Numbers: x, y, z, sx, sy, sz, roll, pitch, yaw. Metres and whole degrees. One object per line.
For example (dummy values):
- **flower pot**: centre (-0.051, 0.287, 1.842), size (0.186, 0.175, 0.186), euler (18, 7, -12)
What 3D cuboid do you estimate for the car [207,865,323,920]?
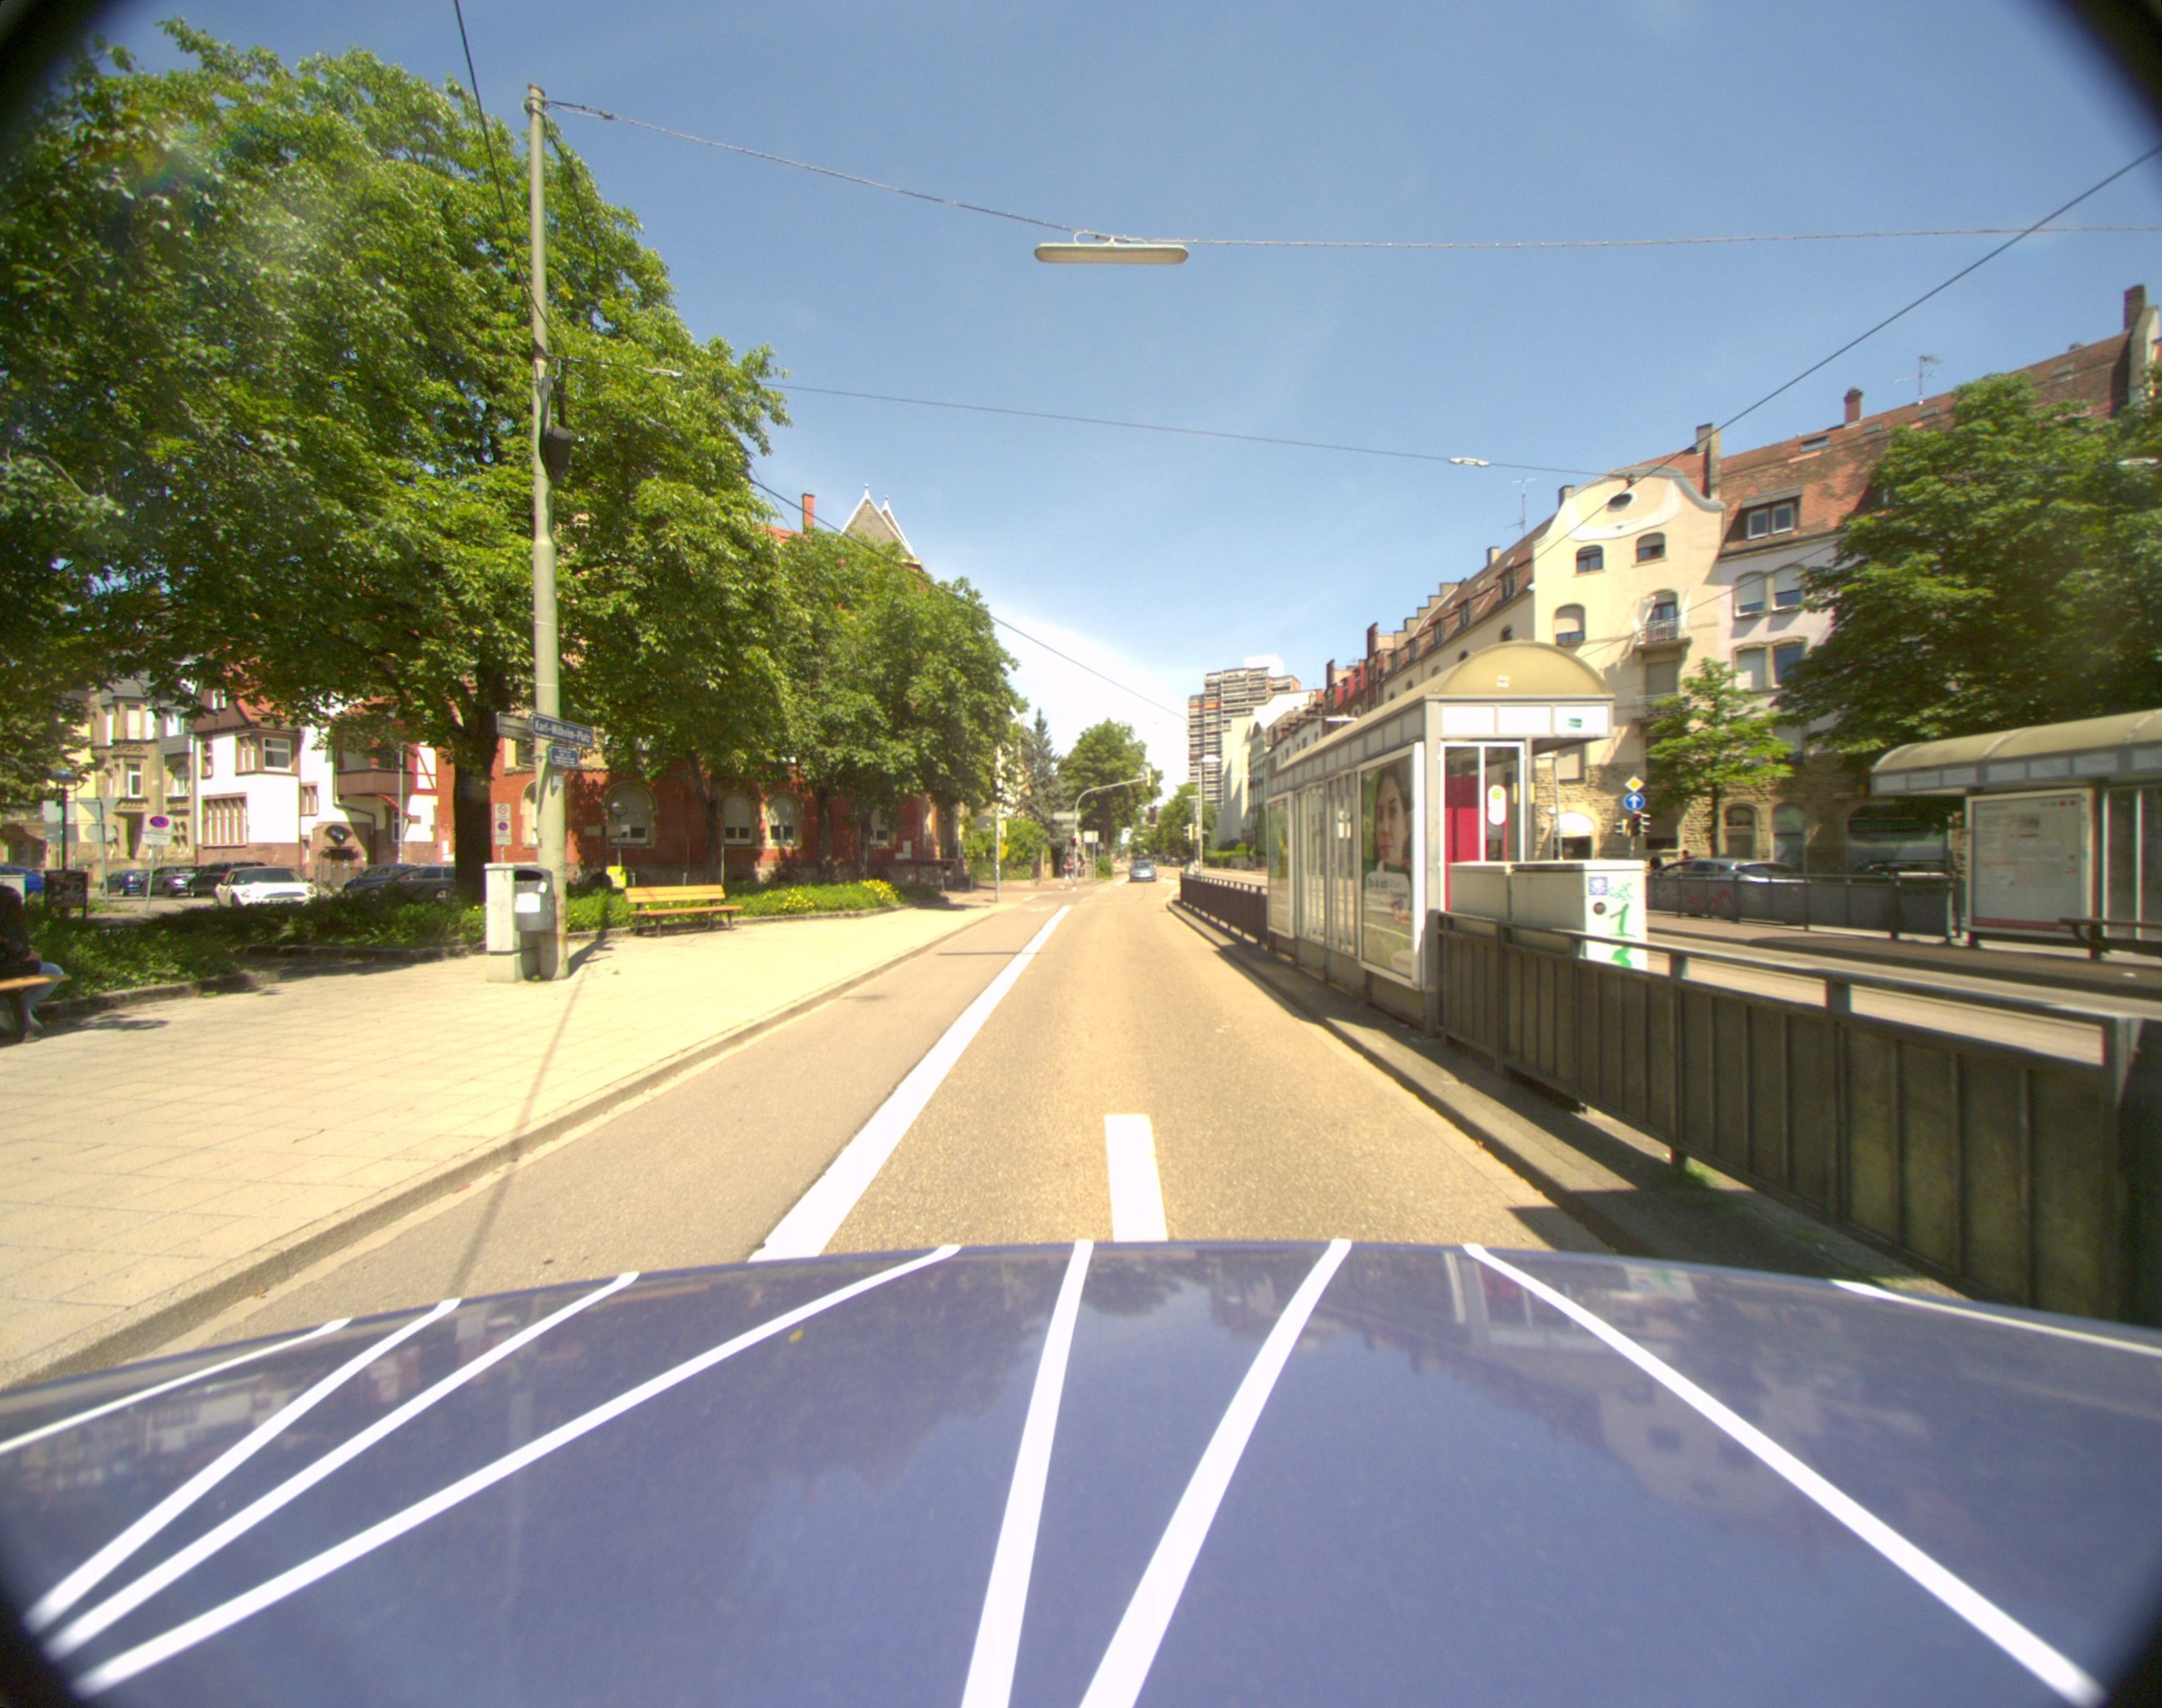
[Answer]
- **car**: centre (-24.290, 1.115, 22.589), size (3.642, 1.497, 1.709), euler (-1, -1, 33)

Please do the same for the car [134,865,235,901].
- **car**: centre (-44.148, 1.434, 37.412), size (4.299, 1.608, 1.941), euler (-2, 1, 23)

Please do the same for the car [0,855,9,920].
- **car**: centre (-37.659, 1.204, 23.795), size (1.934, 2.178, 4.315), euler (-2, 1, 23)

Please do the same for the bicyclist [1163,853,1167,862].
- **bicyclist**: centre (17.086, 0.764, 154.032), size (0.644, 1.864, 0.716), euler (-2, 1, -2)

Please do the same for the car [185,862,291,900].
- **car**: centre (-39.589, 1.279, 35.667), size (4.299, 1.608, 1.941), euler (-2, 1, 23)

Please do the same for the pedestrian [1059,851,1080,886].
- **pedestrian**: centre (-0.598, 0.768, 39.672), size (0.840, 1.813, 0.672), euler (-1, 1, -31)

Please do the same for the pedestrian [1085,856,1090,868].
- **pedestrian**: centre (0.922, 1.199, 115.675), size (0.686, 1.732, 0.660), euler (-2, 1, 3)

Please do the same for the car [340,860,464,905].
- **car**: centre (-27.042, 1.137, 30.288), size (4.299, 1.608, 1.941), euler (-2, 1, 23)

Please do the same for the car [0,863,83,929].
- **car**: centre (-32.843, 1.304, 22.028), size (1.934, 1.869, 4.315), euler (-2, 1, 23)

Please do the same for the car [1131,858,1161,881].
- **car**: centre (4.372, 1.006, 50.984), size (1.895, 1.372, 4.001), euler (-2, 1, 5)

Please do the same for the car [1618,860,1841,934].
- **car**: centre (14.839, 0.913, 17.728), size (1.812, 1.386, 3.999), euler (-2, 1, 1)

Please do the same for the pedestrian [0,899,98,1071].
- **pedestrian**: centre (-7.741, 0.914, 5.419), size (0.566, 1.136, 0.725), euler (0, 1, -16)

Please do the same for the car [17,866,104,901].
- **car**: centre (-59.178, 1.713, 44.079), size (4.299, 1.862, 1.941), euler (-2, 1, 23)

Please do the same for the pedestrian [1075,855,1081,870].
- **pedestrian**: centre (-0.326, 0.913, 81.374), size (0.702, 1.645, 0.665), euler (0, 0, 1)

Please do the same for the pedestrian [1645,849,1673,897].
- **pedestrian**: centre (20.162, 0.653, 26.518), size (0.594, 1.637, 0.474), euler (0, 0, 1)

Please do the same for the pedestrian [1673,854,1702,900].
- **pedestrian**: centre (20.288, 0.756, 25.428), size (0.594, 1.542, 0.474), euler (0, 0, -1)

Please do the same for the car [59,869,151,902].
- **car**: centre (-53.023, 1.732, 41.269), size (4.299, 1.608, 1.941), euler (-2, 1, 23)

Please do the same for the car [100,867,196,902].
- **car**: centre (-48.422, 1.576, 39.434), size (4.299, 1.608, 1.941), euler (-2, 1, 23)

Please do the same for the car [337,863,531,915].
- **car**: centre (-21.864, 1.175, 25.807), size (5.030, 1.474, 1.938), euler (-2, 1, 4)

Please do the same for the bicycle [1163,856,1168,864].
- **bicycle**: centre (17.114, 1.259, 154.050), size (0.644, 1.503, 1.970), euler (-2, 1, -2)
